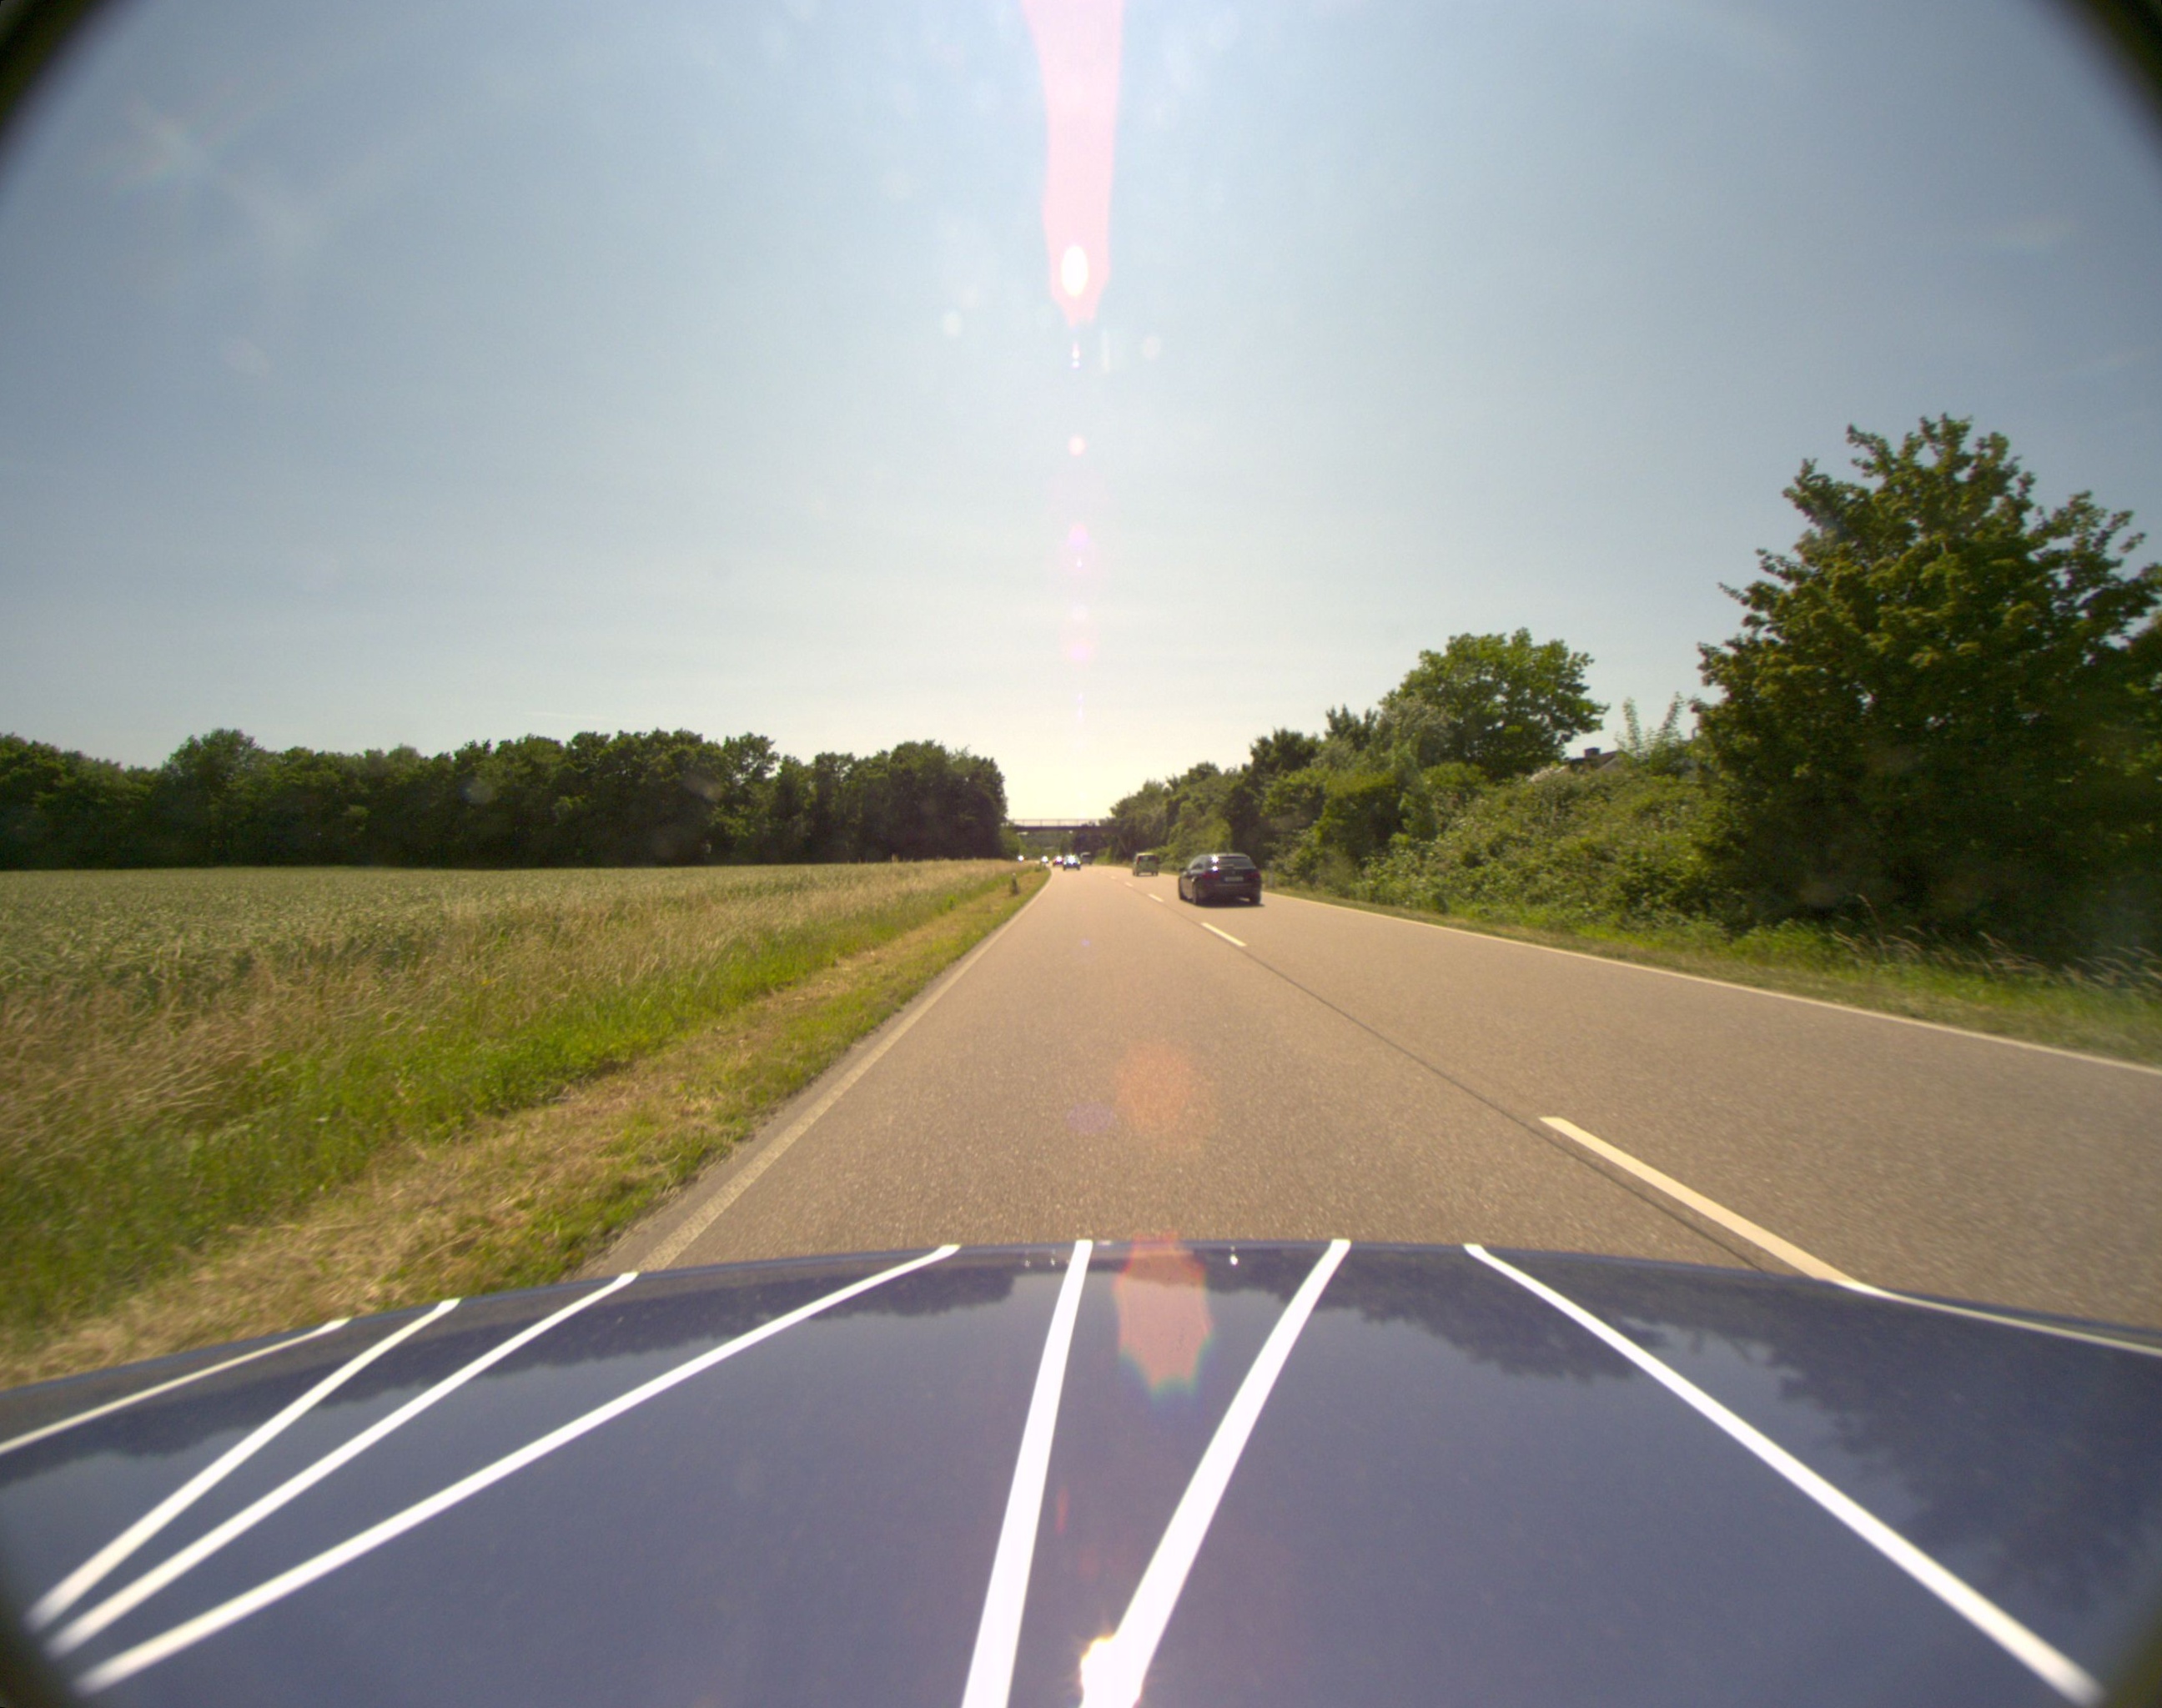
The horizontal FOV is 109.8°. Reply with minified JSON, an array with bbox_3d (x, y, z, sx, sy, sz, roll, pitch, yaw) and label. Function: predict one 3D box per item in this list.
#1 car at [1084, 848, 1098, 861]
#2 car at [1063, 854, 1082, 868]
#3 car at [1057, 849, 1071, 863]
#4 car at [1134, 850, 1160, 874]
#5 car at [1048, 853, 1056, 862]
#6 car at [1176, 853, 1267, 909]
[{"bbox_3d":[1.474,0.041,115.746,1.767,1.808,4.802,-2,0,-2],"label":"car"},{"bbox_3d":[-0.909,0.723,80.010,1.693,1.431,3.709,-2,0,-3],"label":"car"},{"bbox_3d":[-2.684,0.311,118.060,1.999,2.002,3.998,-2,1,-3],"label":"car"},{"bbox_3d":[4.519,0.525,52.517,1.500,1.487,3.832,-2,0,1],"label":"car"},{"bbox_3d":[-6.356,0.749,164.685,1.553,1.659,3.999,-2,1,0],"label":"car"},{"bbox_3d":[4.057,0.724,22.672,1.805,1.442,4.532,-2,0,-1],"label":"car"}]
